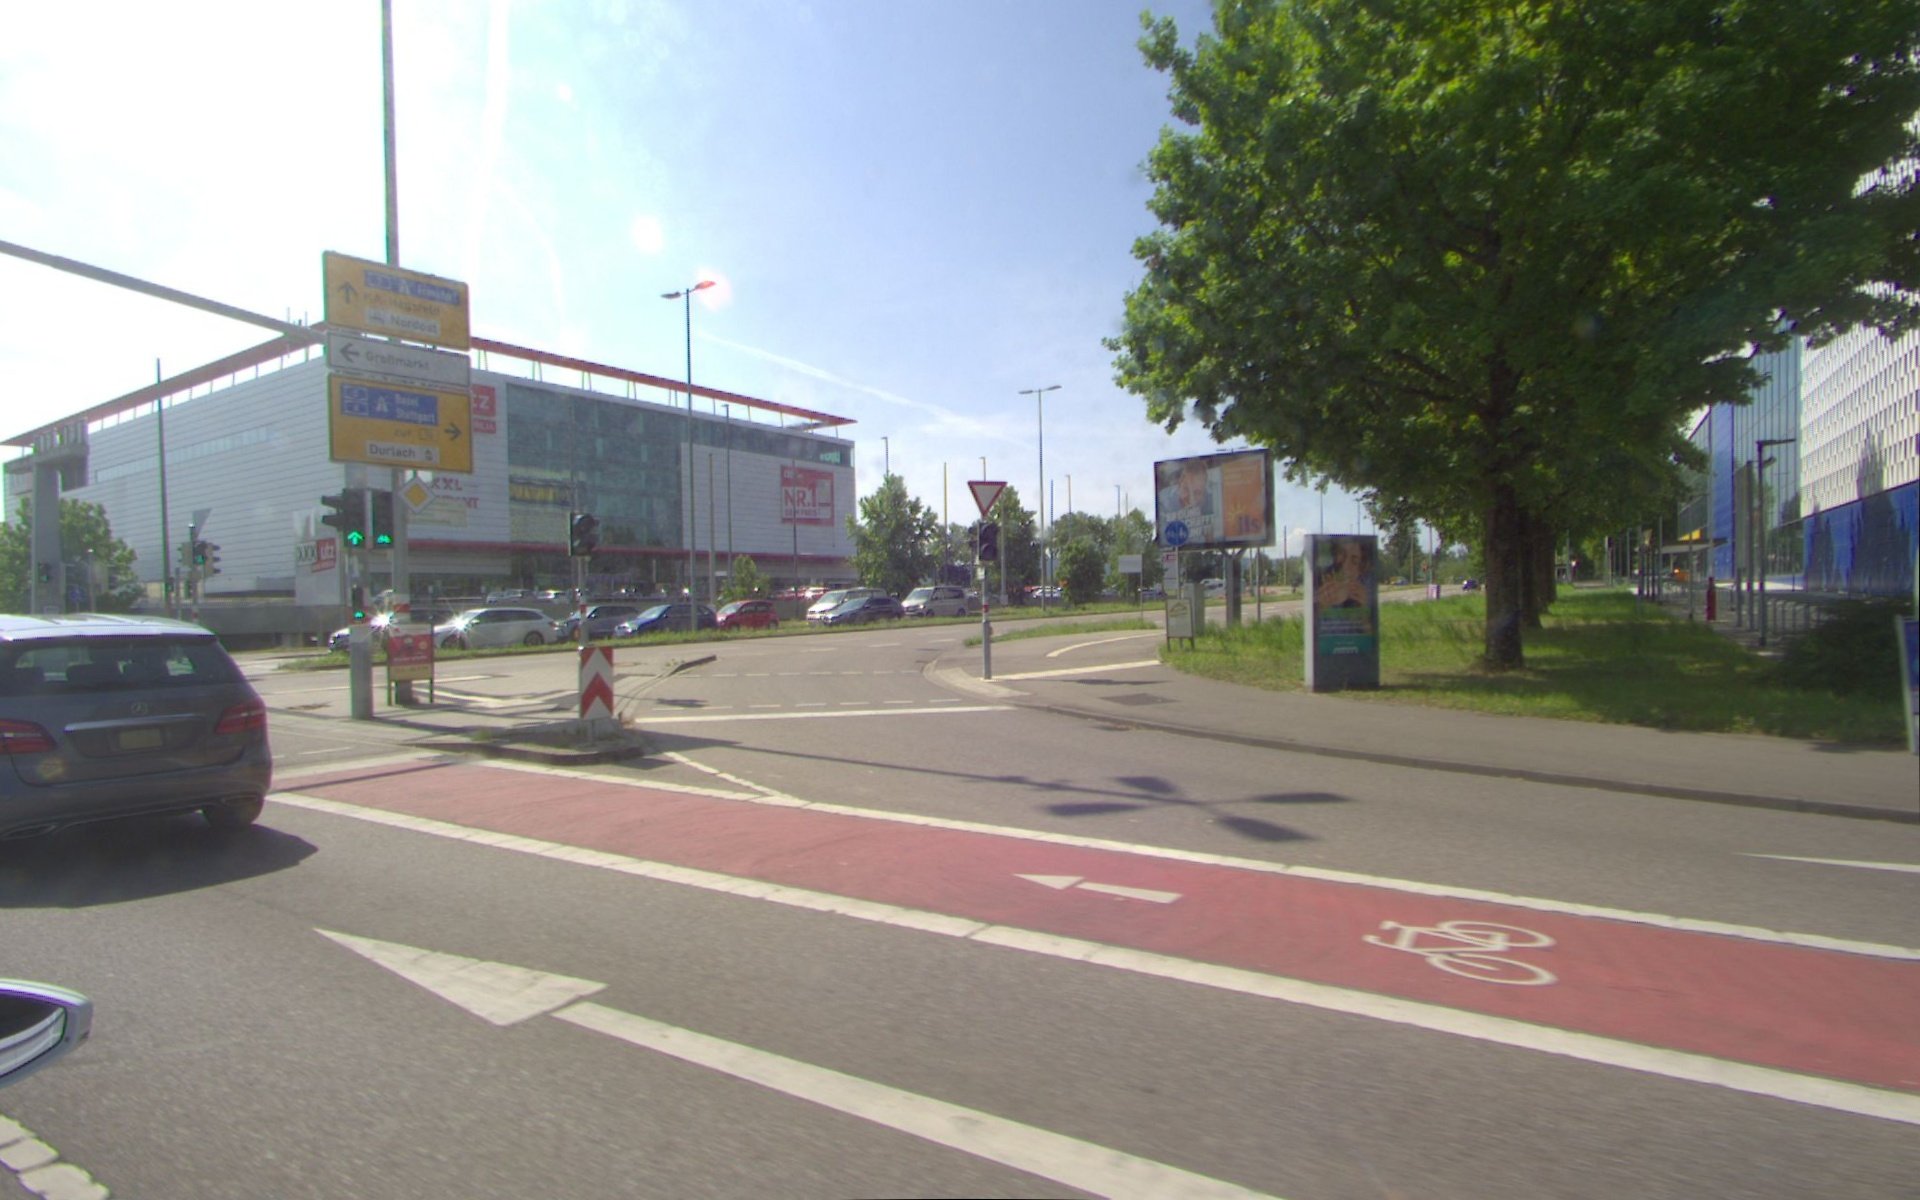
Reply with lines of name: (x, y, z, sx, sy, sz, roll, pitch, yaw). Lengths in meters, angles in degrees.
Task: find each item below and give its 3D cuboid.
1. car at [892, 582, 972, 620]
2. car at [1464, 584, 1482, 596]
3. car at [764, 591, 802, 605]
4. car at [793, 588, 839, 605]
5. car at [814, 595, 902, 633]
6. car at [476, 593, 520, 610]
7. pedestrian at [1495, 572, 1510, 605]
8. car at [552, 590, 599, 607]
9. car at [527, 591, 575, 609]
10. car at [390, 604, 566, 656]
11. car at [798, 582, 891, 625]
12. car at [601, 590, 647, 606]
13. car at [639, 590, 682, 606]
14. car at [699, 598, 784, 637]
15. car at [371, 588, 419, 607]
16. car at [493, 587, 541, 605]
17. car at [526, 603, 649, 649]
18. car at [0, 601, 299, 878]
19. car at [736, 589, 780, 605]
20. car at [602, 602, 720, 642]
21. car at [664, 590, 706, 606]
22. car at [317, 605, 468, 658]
car: (-1.507, 0.036, 55.873, 1.890, 1.961, 4.757, -2, -1, 37)
car: (66.489, -1.314, 129.791, 1.619, 1.555, 3.892, -1, 0, 34)
car: (-19.414, -0.257, 109.879, 4.054, 1.438, 1.679, -1, 0, 35)
car: (-13.217, -0.325, 91.917, 4.051, 1.438, 1.784, -1, 0, 33)
car: (-4.627, 0.622, 45.910, 1.662, 1.641, 4.102, -1, 0, 37)
car: (-41.364, 0.124, 89.661, 3.857, 1.438, 1.682, -1, 0, 30)
pedestrian: (33.723, -0.703, 62.248, 0.670, 2.039, 0.600, -1, -2, 18)
car: (-33.894, -0.094, 88.198, 4.144, 1.438, 1.866, -1, 0, 35)
car: (-34.917, -0.022, 85.524, 4.144, 1.438, 1.826, -1, 0, 35)
car: (-15.298, 0.931, 32.036, 1.933, 1.444, 4.701, -2, 0, 35)
car: (-5.716, 0.162, 50.065, 1.937, 2.001, 4.658, -3, -1, 36)
car: (-30.910, -0.174, 92.113, 4.144, 1.438, 1.895, -1, 0, 35)
car: (-28.716, -0.175, 95.948, 4.143, 1.438, 1.799, -1, 0, 35)
car: (-9.598, 0.746, 44.186, 1.578, 1.596, 3.458, -1, 0, 36)
car: (-45.303, -0.158, 80.297, 4.144, 1.438, 1.765, -1, 0, 35)
car: (-37.004, -0.338, 83.619, 3.951, 1.438, 1.795, -1, 0, 32)
car: (-14.176, 0.963, 38.242, 1.883, 1.528, 4.015, -2, 0, 35)
car: (-6.768, 0.806, 7.278, 4.078, 1.559, 1.770, 0, -1, 32)
car: (-18.642, -0.265, 92.441, 3.956, 1.438, 1.734, -1, 0, 35)
car: (-11.117, 0.794, 37.417, 1.701, 1.359, 4.032, -2, -1, 35)
car: (-26.891, -0.171, 97.776, 4.144, 1.438, 1.730, -1, 0, 35)
car: (-18.449, 0.988, 32.685, 1.785, 1.579, 3.871, -1, 0, 36)
